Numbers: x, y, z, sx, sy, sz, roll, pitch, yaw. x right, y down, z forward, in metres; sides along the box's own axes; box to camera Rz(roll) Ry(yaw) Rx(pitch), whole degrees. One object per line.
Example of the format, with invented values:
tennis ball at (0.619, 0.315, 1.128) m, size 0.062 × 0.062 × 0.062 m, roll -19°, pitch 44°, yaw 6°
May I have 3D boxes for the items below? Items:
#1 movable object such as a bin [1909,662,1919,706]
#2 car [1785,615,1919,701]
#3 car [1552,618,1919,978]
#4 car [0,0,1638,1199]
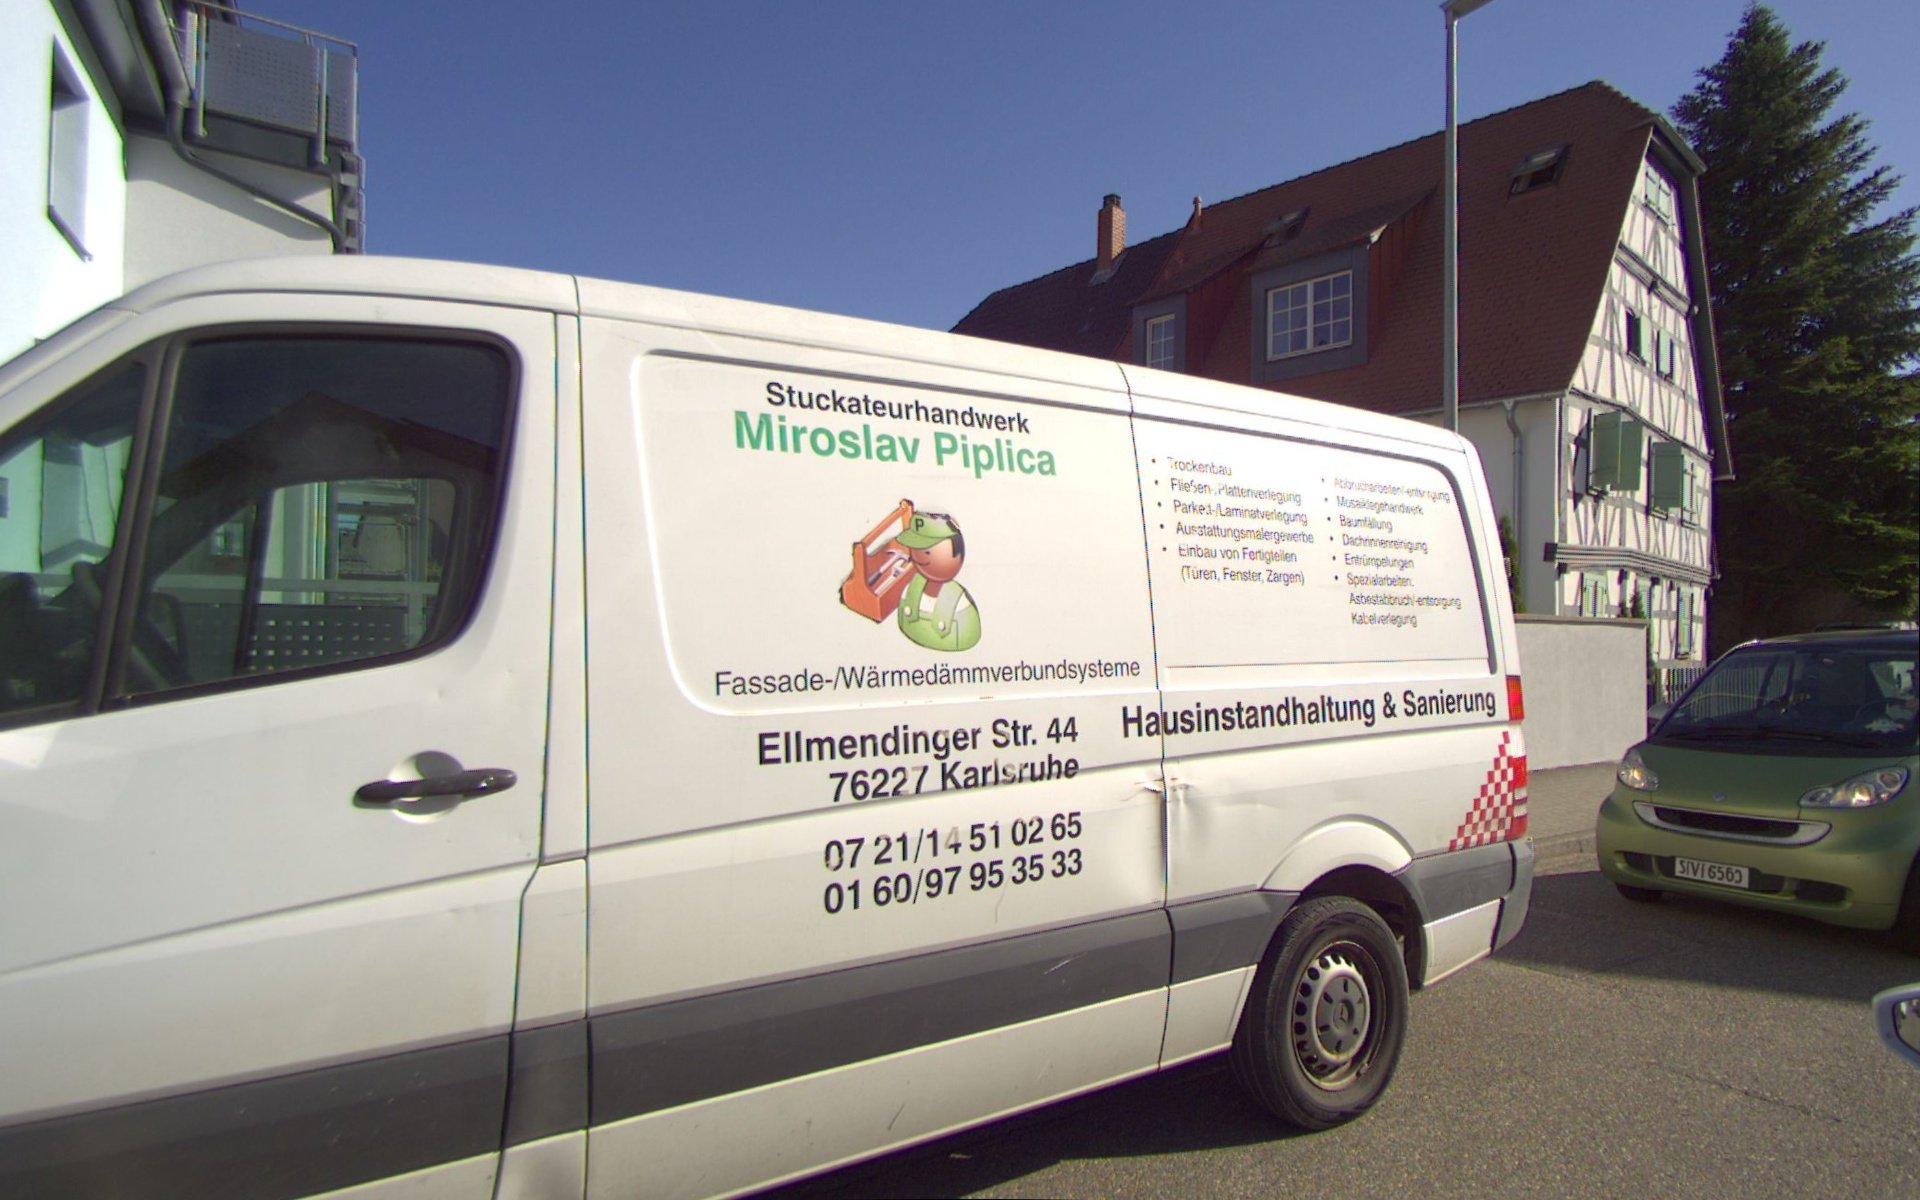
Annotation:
movable object such as a bin at (21.408, 1.868, 22.295) m, size 0.486 × 0.936 × 0.417 m, roll -1°, pitch -1°, yaw -38°
car at (22.925, 1.411, 25.658) m, size 5.099 × 1.981 × 1.924 m, roll 1°, pitch -2°, yaw -39°
car at (5.114, 0.926, 5.734) m, size 2.924 × 1.566 × 1.570 m, roll 1°, pitch -3°, yaw -24°
car at (-0.607, 0.394, 3.227) m, size 5.993 × 2.421 × 2.187 m, roll 2°, pitch -4°, yaw -30°
